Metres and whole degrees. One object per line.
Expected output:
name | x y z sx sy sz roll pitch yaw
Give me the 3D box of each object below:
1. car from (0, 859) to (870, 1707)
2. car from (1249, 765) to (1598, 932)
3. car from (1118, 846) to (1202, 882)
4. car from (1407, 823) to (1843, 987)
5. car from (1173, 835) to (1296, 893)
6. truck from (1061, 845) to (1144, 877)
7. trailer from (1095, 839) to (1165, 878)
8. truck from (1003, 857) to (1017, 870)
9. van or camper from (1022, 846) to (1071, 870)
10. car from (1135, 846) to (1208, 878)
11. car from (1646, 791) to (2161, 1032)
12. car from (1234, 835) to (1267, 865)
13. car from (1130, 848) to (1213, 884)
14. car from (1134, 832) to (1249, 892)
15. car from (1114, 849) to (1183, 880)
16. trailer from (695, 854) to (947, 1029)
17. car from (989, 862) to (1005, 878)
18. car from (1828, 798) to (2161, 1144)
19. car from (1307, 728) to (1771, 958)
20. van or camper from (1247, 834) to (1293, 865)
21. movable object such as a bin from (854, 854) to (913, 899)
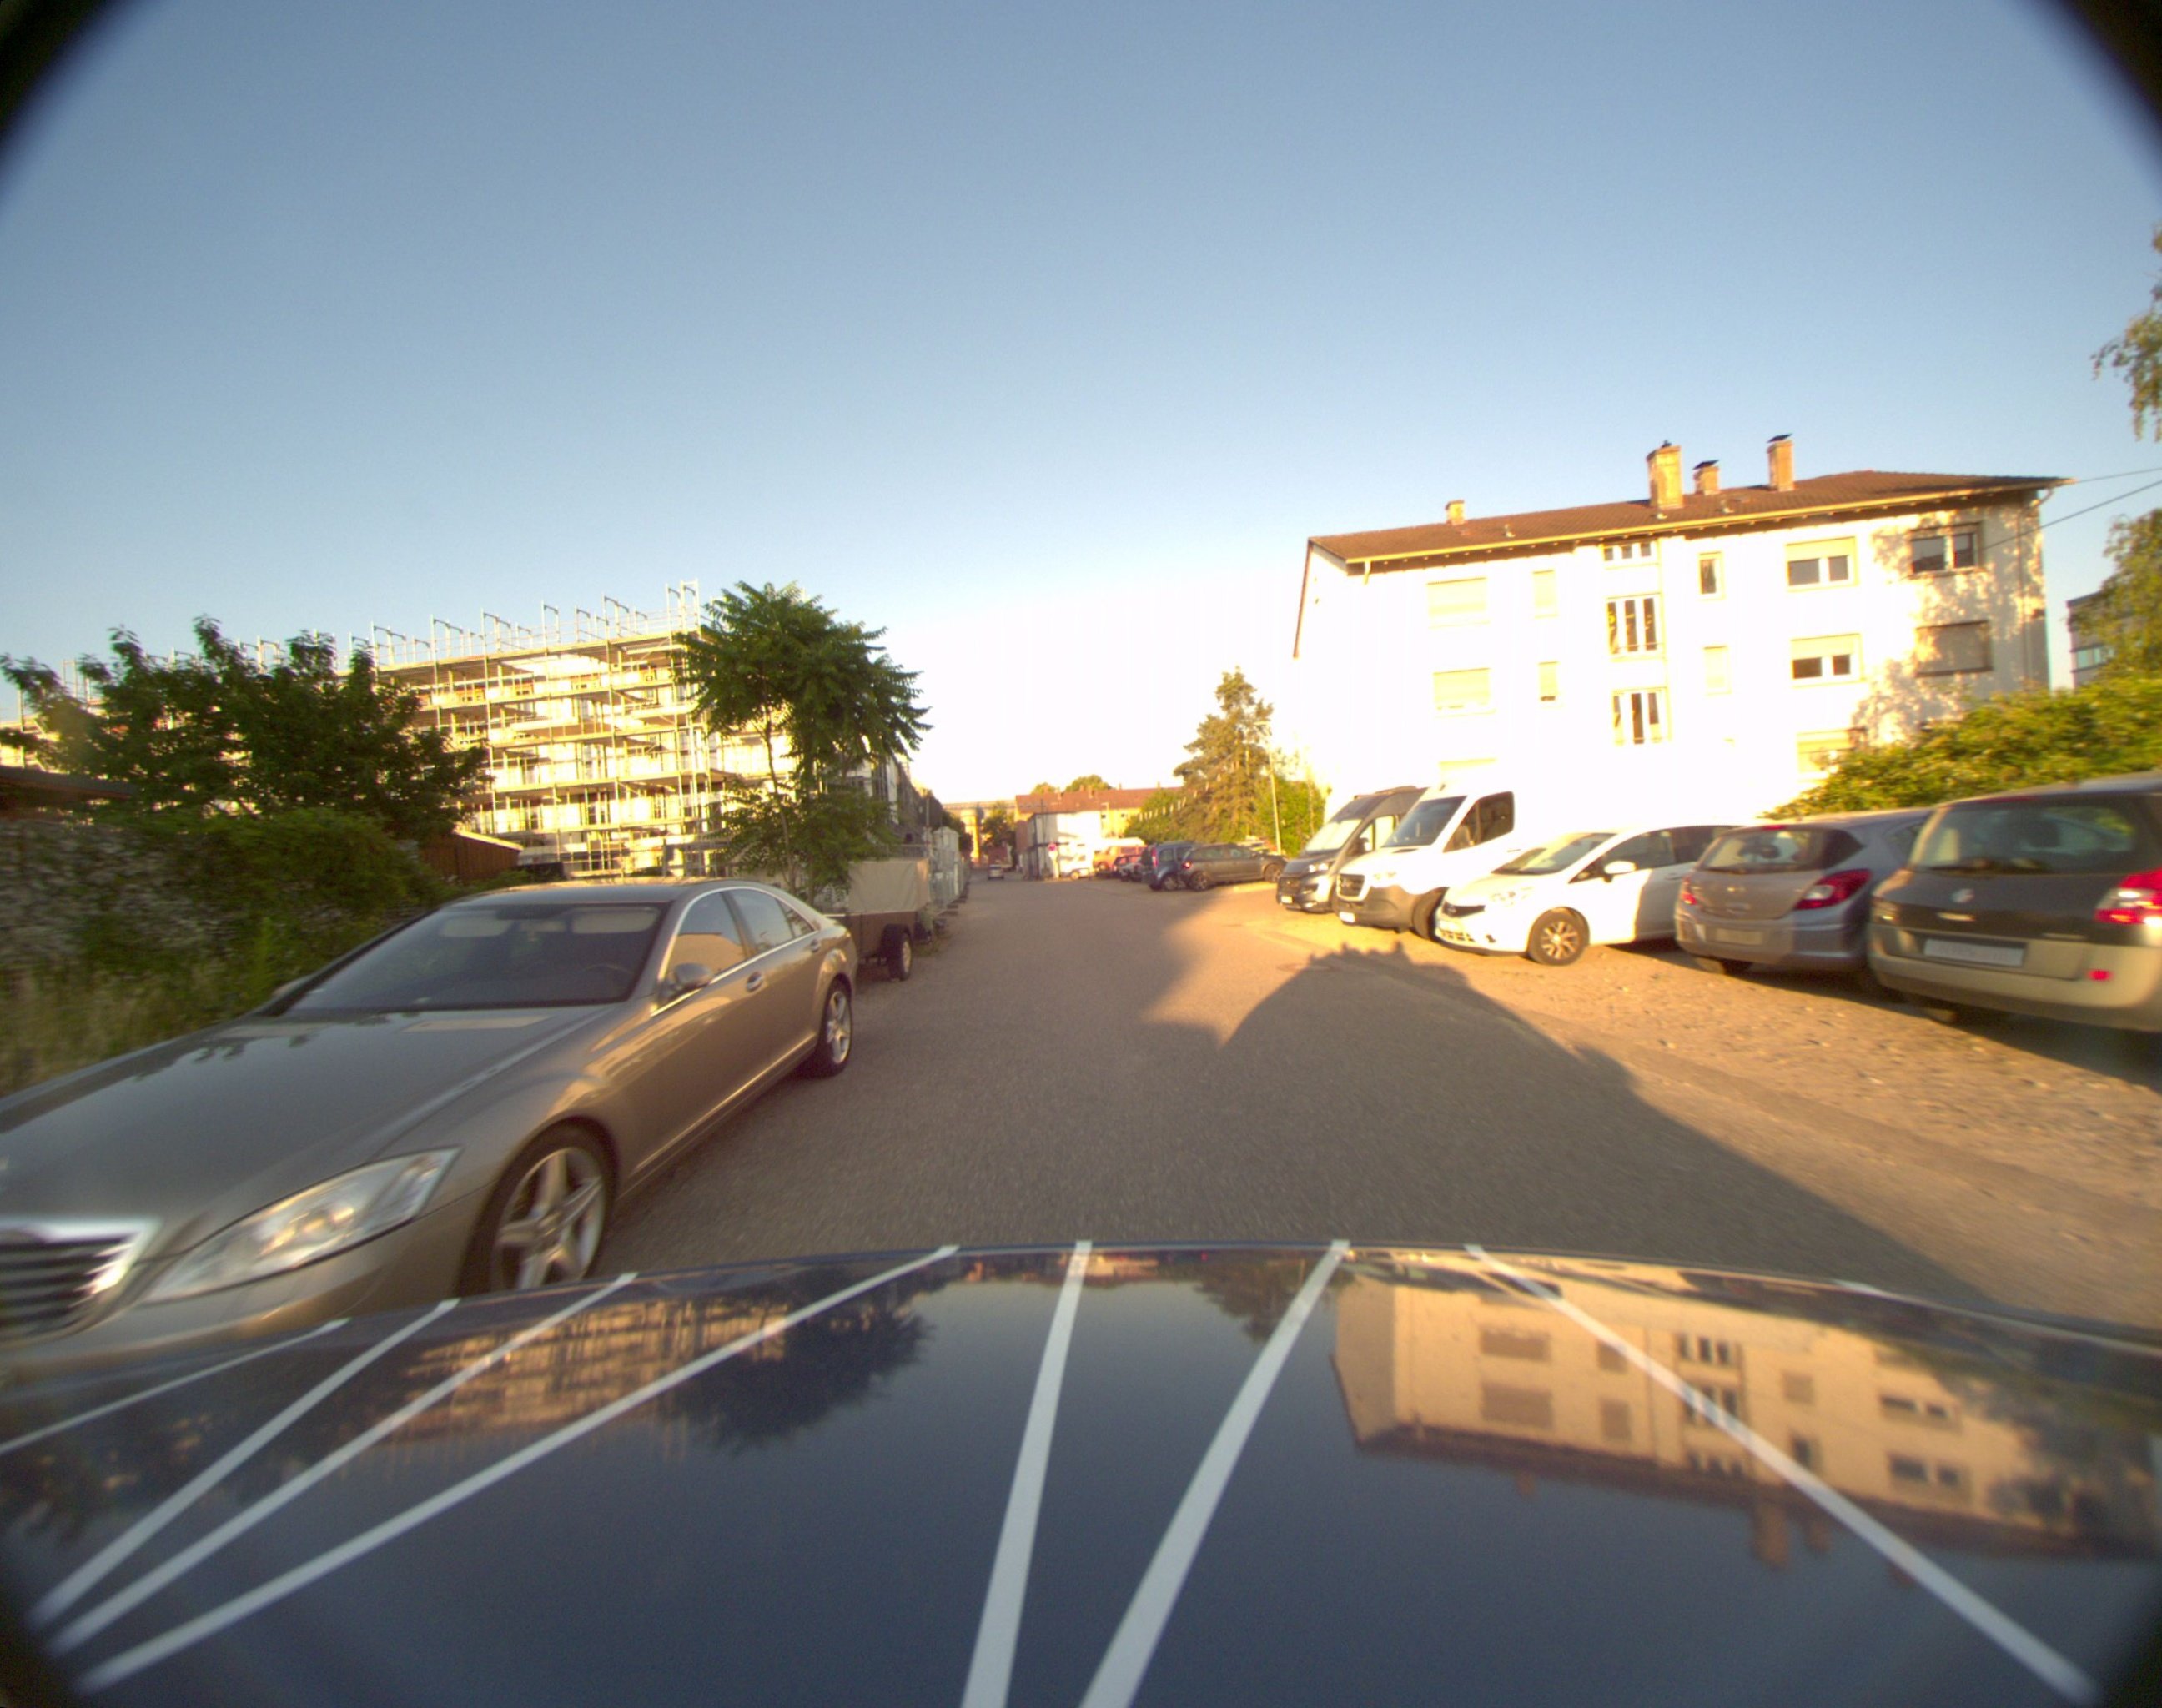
car | -2.676 0.920 3.836 1.810 1.714 4.928 -2 0 0
car | 7.078 -0.160 15.985 6.408 2.698 2.111 -6 2 -8
car | 4.215 0.568 40.921 4.101 1.617 1.821 -4 -3 -5
car | 6.318 0.543 9.157 3.936 1.498 1.789 -4 1 -1
car | 5.424 0.339 27.218 3.935 1.642 1.748 -6 0 1
truck | 1.604 0.551 58.519 6.029 2.031 2.355 -4 0 -5
trailer | 3.528 0.312 55.853 4.804 2.419 2.133 -5 2 -1
truck | -12.774 1.688 136.825 1.843 2.089 3.736 -6 1 -14
van or camper | -4.774 0.597 104.985 6.473 2.625 2.406 -6 0 -6
car | 5.149 0.475 43.703 3.935 1.511 1.809 -5 -1 2
car | 7.524 0.381 6.593 3.936 1.582 1.747 -4 2 -2
car | 14.025 -0.275 63.145 1.847 2.135 4.825 -4 -2 4
car | 4.542 0.567 38.437 3.935 1.508 1.643 -4 1 2
car | 4.288 0.325 29.649 3.939 1.900 1.746 -6 0 -15
car | 4.128 0.631 46.830 4.046 1.610 1.849 -4 0 2
trailer | -3.140 0.918 10.388 1.735 1.767 4.937 -2 0 0
car | -9.184 1.742 82.946 1.675 1.610 4.283 -4 0 -7
car | 7.062 0.423 4.167 3.933 1.581 1.749 -4 0 6
car | 6.842 -0.171 11.758 5.842 2.697 2.050 -6 0 -4
van or camper | 18.038 -0.411 72.831 2.262 2.754 5.797 -4 0 -5
movable object such as a bin | -11.434 1.230 44.635 2.071 2.260 8.363 -3 0 -6
